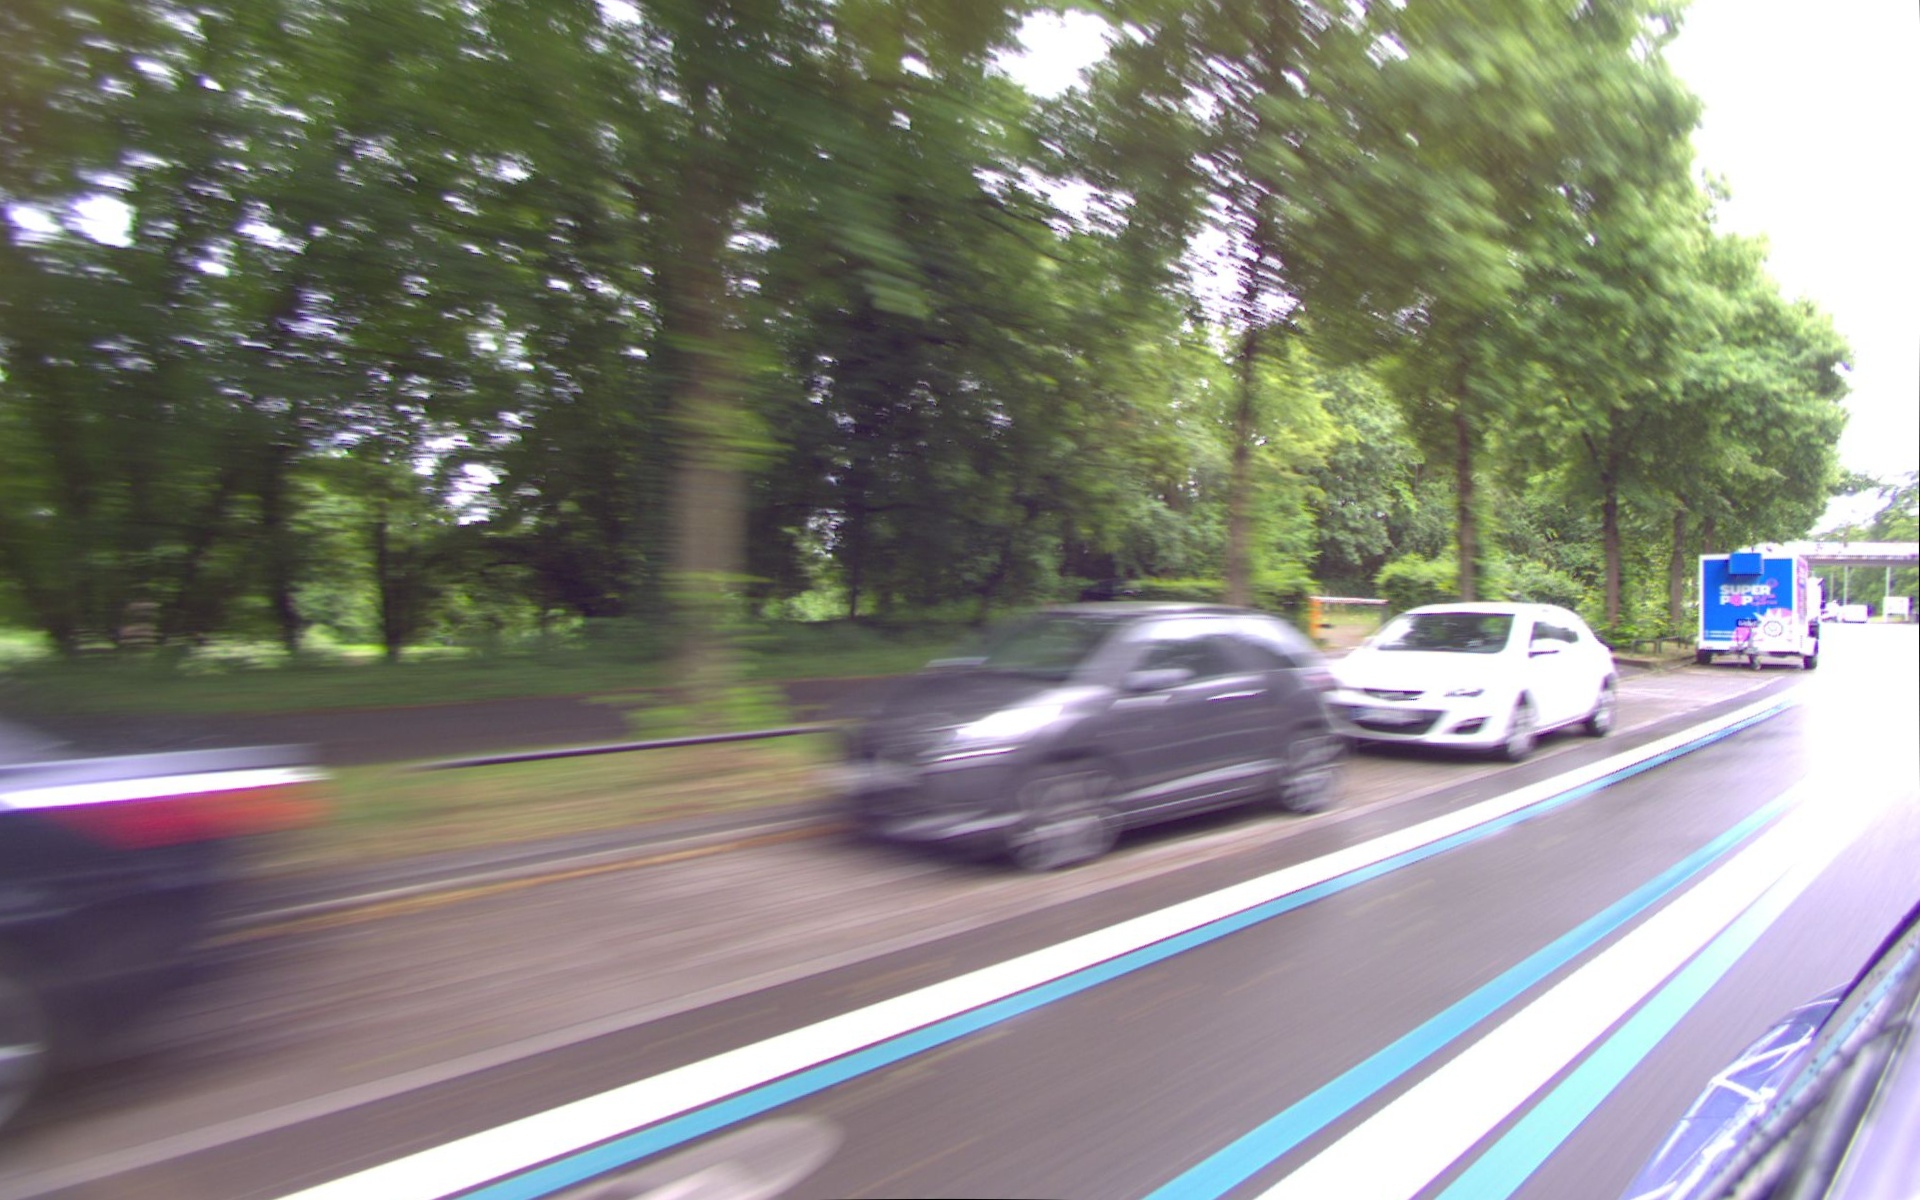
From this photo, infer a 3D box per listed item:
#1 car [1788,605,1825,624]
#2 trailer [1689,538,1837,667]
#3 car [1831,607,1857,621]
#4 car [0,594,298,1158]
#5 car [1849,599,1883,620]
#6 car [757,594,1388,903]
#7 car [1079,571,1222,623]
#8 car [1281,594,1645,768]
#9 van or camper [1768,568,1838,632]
[{"bbox_3d":[69.386,1.177,82.968,1.816,1.481,3.835,0,-2,33],"label":"car"},{"bbox_3d":[19.124,0.047,23.999,2.316,2.706,5.292,0,0,43],"label":"trailer"},{"bbox_3d":[99.911,1.611,114.412,1.602,1.464,3.989,3,-1,33],"label":"car"},{"bbox_3d":[-4.321,0.714,2.103,4.761,1.425,1.784,0,0,-41],"label":"car"},{"bbox_3d":[92.242,1.007,103.132,1.973,1.939,5.158,2,-1,35],"label":"car"},{"bbox_3d":[0.954,0.693,6.760,4.240,1.446,1.687,0,0,-39],"label":"car"},{"bbox_3d":[5.695,-0.130,30.724,1.854,1.338,4.152,0,3,-34],"label":"car"},{"bbox_3d":[5.442,0.672,10.655,4.569,1.446,1.862,0,0,-42],"label":"car"},{"bbox_3d":[37.951,-0.003,45.543,2.314,2.698,6.288,0,0,40],"label":"van or camper"}]
